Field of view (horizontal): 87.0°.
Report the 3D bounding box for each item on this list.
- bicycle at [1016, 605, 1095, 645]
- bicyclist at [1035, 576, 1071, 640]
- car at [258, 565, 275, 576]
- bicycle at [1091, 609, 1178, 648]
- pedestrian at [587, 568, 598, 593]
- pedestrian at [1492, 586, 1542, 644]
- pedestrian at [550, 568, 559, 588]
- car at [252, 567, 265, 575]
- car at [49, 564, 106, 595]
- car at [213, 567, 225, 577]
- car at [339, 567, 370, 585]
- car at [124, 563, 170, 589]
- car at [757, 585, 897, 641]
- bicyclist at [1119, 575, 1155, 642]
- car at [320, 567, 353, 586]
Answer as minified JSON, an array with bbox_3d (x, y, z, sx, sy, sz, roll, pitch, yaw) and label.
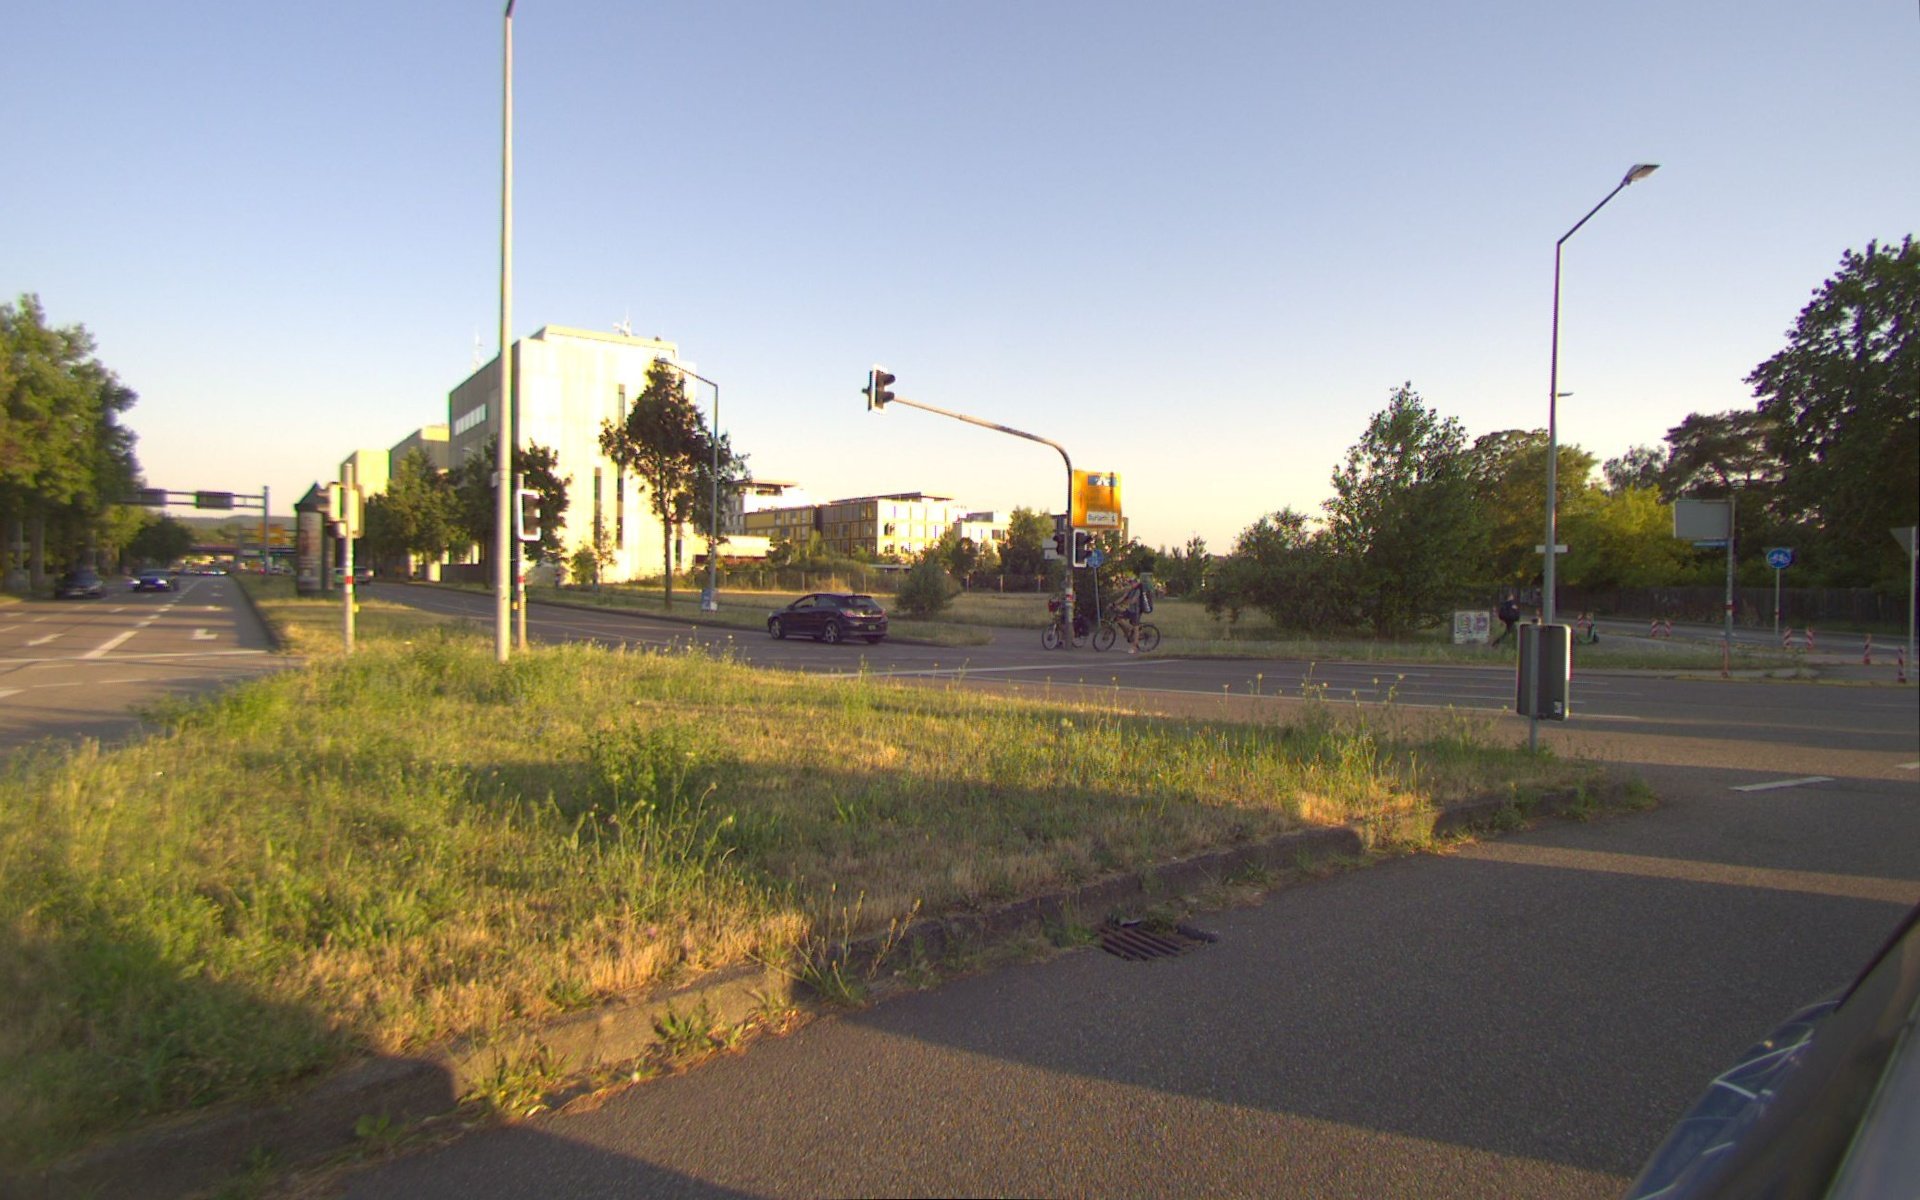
[{"bbox_3d":[2.593,0.662,27.346,2.065,0.975,0.711,-2,2,-27],"label":"bicycle"},{"bbox_3d":[2.507,0.211,27.328,0.675,1.711,0.726,0,1,-29],"label":"bicyclist"},{"bbox_3d":[-110.208,-4.652,160.808,1.964,1.649,3.997,0,1,-38],"label":"car"},{"bbox_3d":[4.520,0.735,26.242,2.100,0.975,0.711,1,1,-15],"label":"bicycle"},{"bbox_3d":[-25.142,-1.328,69.197,0.555,1.705,0.520,0,1,-35],"label":"pedestrian"},{"bbox_3d":[15.757,0.409,28.637,0.977,1.610,0.923,1,1,13],"label":"pedestrian"},{"bbox_3d":[-31.573,-1.685,78.800,0.492,1.531,0.530,0,1,-35],"label":"pedestrian"},{"bbox_3d":[-138.724,-5.730,200.019,1.963,1.649,3.998,0,1,-37],"label":"car"},{"bbox_3d":[-46.088,-1.083,52.931,1.963,1.524,4.618,0,1,-37],"label":"car"},{"bbox_3d":[-154.145,-5.770,210.466,1.963,2.039,3.998,0,0,-36],"label":"car"},{"bbox_3d":[-54.702,-2.192,91.443,1.703,1.597,4.324,0,1,-40],"label":"car"},{"bbox_3d":[-50.208,-1.502,62.551,1.963,1.524,4.771,0,1,-36],"label":"car"},{"bbox_3d":[-3.828,0.322,28.741,4.112,1.396,1.724,2,2,43],"label":"car"},{"bbox_3d":[4.592,0.212,26.263,0.674,1.711,0.727,1,1,-13],"label":"bicyclist"},{"bbox_3d":[-48.941,-1.845,79.367,1.659,1.438,3.996,1,1,-39],"label":"car"}]
